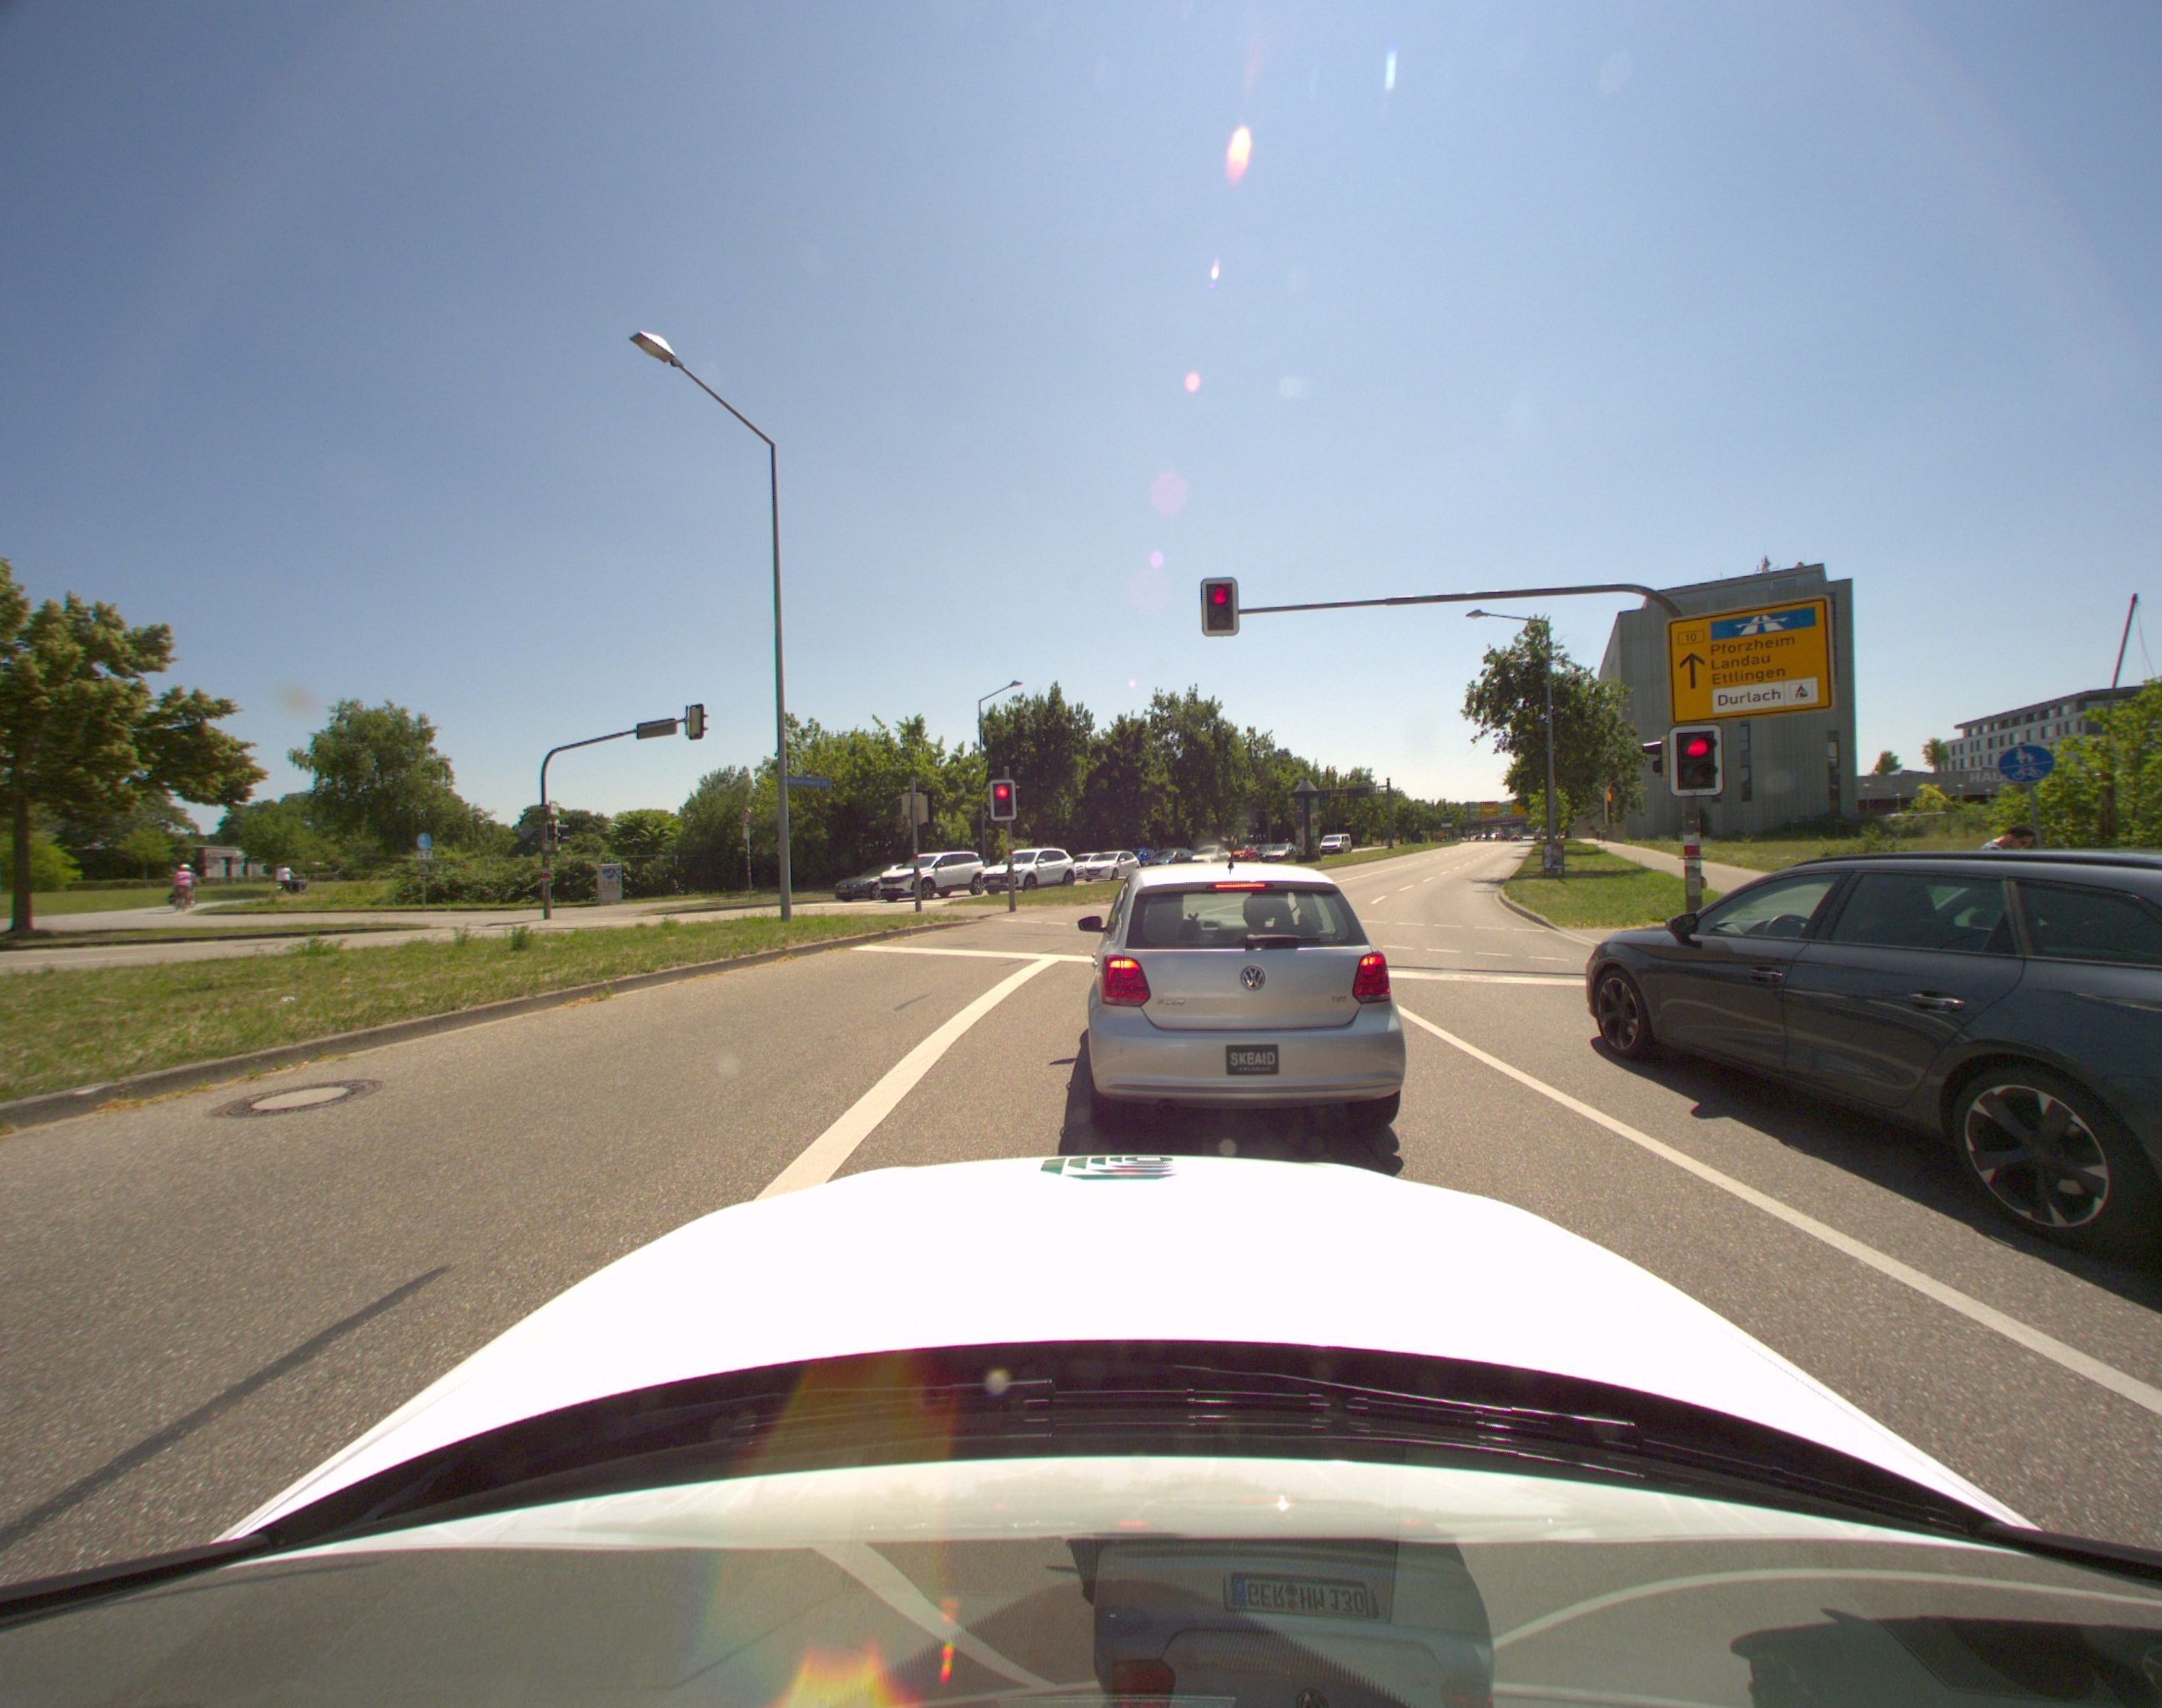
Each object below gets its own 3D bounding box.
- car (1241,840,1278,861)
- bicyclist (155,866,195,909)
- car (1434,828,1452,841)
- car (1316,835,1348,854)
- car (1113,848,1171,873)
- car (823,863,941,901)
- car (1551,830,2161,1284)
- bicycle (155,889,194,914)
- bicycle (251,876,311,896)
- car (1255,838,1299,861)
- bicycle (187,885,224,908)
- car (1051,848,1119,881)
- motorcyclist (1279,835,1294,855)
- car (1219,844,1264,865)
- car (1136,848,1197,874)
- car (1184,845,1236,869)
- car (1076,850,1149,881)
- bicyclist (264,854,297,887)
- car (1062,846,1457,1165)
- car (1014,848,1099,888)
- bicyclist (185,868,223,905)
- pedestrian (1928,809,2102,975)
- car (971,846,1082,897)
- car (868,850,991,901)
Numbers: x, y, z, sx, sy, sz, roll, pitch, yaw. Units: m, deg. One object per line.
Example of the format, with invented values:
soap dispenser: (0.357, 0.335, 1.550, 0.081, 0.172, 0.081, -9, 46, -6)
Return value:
car: (14.075, -0.273, 64.139, 1.699, 1.475, 3.821, -3, -1, 29)
bicyclist: (-35.336, 1.291, 31.792, 1.171, 1.610, 0.966, -3, -1, 44)
car: (52.086, -2.743, 117.178, 1.783, 1.692, 4.168, -3, -1, 31)
car: (22.090, -0.868, 71.485, 1.845, 1.554, 4.025, -1, 0, 29)
car: (3.934, 0.381, 51.799, 1.840, 1.422, 4.436, -2, 0, 31)
car: (-7.692, 1.051, 31.894, 1.840, 1.270, 4.436, -2, 0, 31)
car: (4.546, 0.614, 4.151, 1.984, 1.418, 4.461, -2, 1, 4)
bicycle: (-35.327, 1.830, 31.758, 2.198, 0.900, 0.904, -3, -2, 44)
bicycle: (-40.277, 1.590, 41.041, 0.739, 0.912, 2.915, -2, -1, -13)
car: (13.825, -0.317, 57.352, 1.951, 1.488, 4.025, -1, 0, 30)
bicycle: (-38.668, 1.875, 36.007, 0.903, 0.900, 1.742, 0, 0, -40)
car: (0.289, 0.579, 46.309, 1.840, 1.683, 4.436, -2, 0, 31)
motorcyclist: (17.449, -0.761, 69.090, 0.897, 1.586, 1.016, -3, -1, 32)
car: (11.835, 0.023, 59.845, 1.840, 1.422, 4.436, -2, 0, 31)
car: (5.098, 0.391, 47.807, 1.840, 1.422, 4.436, -2, 0, 31)
car: (8.508, 0.188, 53.582, 1.840, 1.422, 4.436, -2, 0, 31)
car: (1.712, 0.555, 42.110, 1.840, 1.422, 4.436, -2, 0, 31)
bicyclist: (-40.300, 0.845, 41.011, 0.755, 1.614, 0.973, -2, -1, -13)
car: (0.921, 0.685, 5.747, 1.769, 1.422, 4.003, -2, 1, 3)
car: (-1.064, 0.609, 37.858, 1.840, 1.683, 4.436, -2, 0, 31)
bicyclist: (-38.720, 1.428, 35.959, 0.965, 1.531, 1.172, -2, 1, -41)
pedestrian: (9.748, 0.389, 8.553, 0.944, 1.637, 0.762, -3, -1, 31)
car: (-1.922, 0.615, 30.091, 1.840, 1.683, 4.436, -2, 0, 31)
car: (-5.360, 0.724, 29.321, 1.840, 1.618, 4.436, -2, 0, 31)
